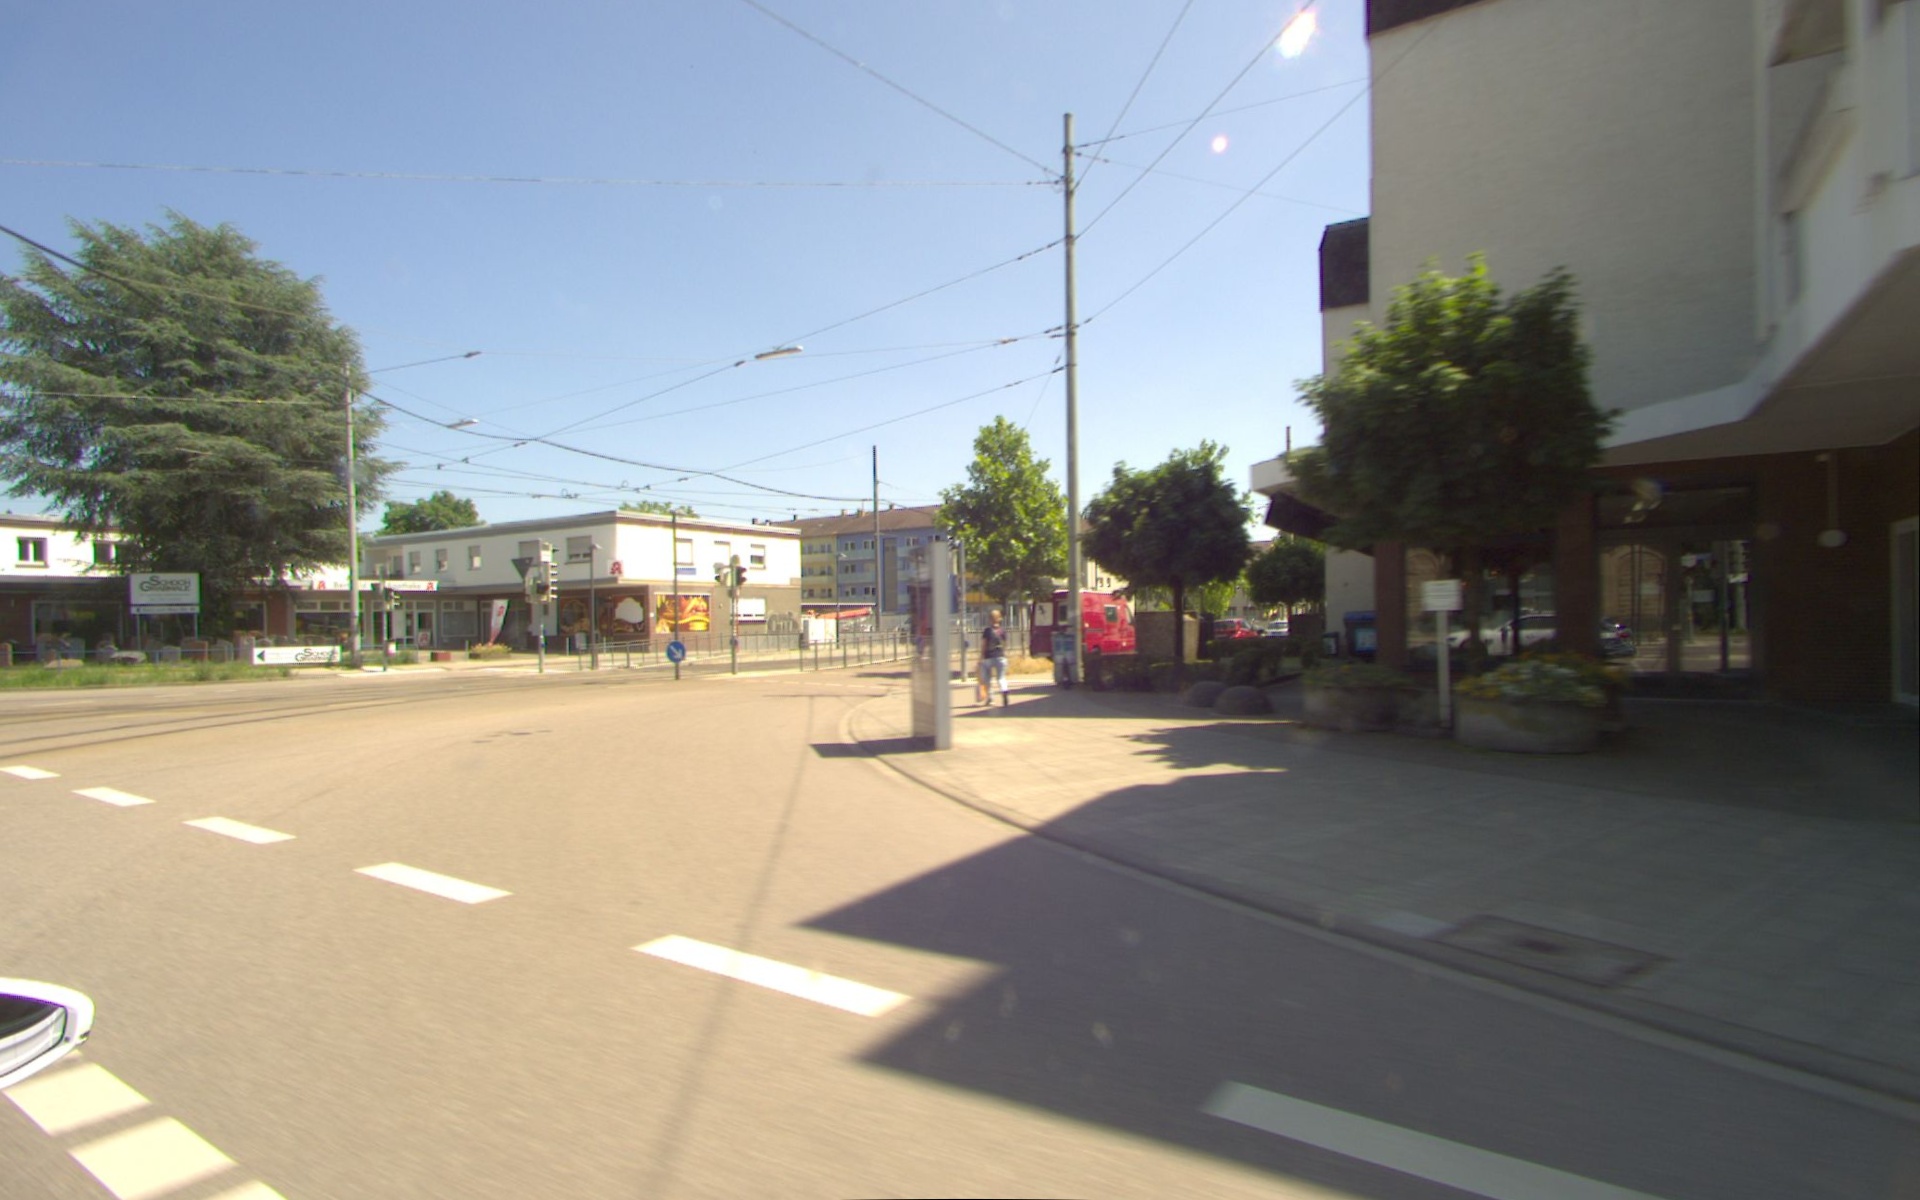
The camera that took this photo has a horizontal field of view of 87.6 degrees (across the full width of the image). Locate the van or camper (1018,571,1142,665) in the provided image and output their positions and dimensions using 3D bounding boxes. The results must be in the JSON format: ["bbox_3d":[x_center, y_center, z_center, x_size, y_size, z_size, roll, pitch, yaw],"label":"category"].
[{"bbox_3d":[4.054,0.595,32.970,2.175,2.801,5.216,-1,-1,31],"label":"van or camper"}]

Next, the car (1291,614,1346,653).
[{"bbox_3d":[15.863,1.454,44.249,1.629,1.630,3.635,-1,-1,30],"label":"car"}]

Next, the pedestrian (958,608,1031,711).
[{"bbox_3d":[0.579,0.959,16.599,0.820,1.605,0.818,-4,3,-45],"label":"pedestrian"}]

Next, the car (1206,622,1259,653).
[{"bbox_3d":[12.724,1.714,46.614,1.431,1.399,3.345,-1,-1,33],"label":"car"}]

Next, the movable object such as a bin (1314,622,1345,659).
[{"bbox_3d":[10.555,1.153,28.586,0.703,1.060,0.741,-1,-1,31],"label":"movable object such as a bin"}]

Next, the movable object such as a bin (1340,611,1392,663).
[{"bbox_3d":[11.331,1.030,27.947,1.177,1.424,1.055,-1,-1,31],"label":"movable object such as a bin"}]

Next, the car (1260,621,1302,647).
[{"bbox_3d":[18.023,1.897,56.095,1.431,1.371,3.345,-1,-1,33],"label":"car"}]

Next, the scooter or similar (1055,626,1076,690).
[{"bbox_3d":[2.077,1.127,19.785,0.387,1.228,1.256,-1,-1,6],"label":"scooter or similar"}]

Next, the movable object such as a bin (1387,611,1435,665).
[{"bbox_3d":[12.262,1.023,27.208,1.047,1.424,1.316,-1,-1,31],"label":"movable object such as a bin"}]

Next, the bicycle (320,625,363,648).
[{"bbox_3d":[-33.148,1.944,53.649,0.592,1.207,1.861,-3,-4,43],"label":"bicycle"}]
